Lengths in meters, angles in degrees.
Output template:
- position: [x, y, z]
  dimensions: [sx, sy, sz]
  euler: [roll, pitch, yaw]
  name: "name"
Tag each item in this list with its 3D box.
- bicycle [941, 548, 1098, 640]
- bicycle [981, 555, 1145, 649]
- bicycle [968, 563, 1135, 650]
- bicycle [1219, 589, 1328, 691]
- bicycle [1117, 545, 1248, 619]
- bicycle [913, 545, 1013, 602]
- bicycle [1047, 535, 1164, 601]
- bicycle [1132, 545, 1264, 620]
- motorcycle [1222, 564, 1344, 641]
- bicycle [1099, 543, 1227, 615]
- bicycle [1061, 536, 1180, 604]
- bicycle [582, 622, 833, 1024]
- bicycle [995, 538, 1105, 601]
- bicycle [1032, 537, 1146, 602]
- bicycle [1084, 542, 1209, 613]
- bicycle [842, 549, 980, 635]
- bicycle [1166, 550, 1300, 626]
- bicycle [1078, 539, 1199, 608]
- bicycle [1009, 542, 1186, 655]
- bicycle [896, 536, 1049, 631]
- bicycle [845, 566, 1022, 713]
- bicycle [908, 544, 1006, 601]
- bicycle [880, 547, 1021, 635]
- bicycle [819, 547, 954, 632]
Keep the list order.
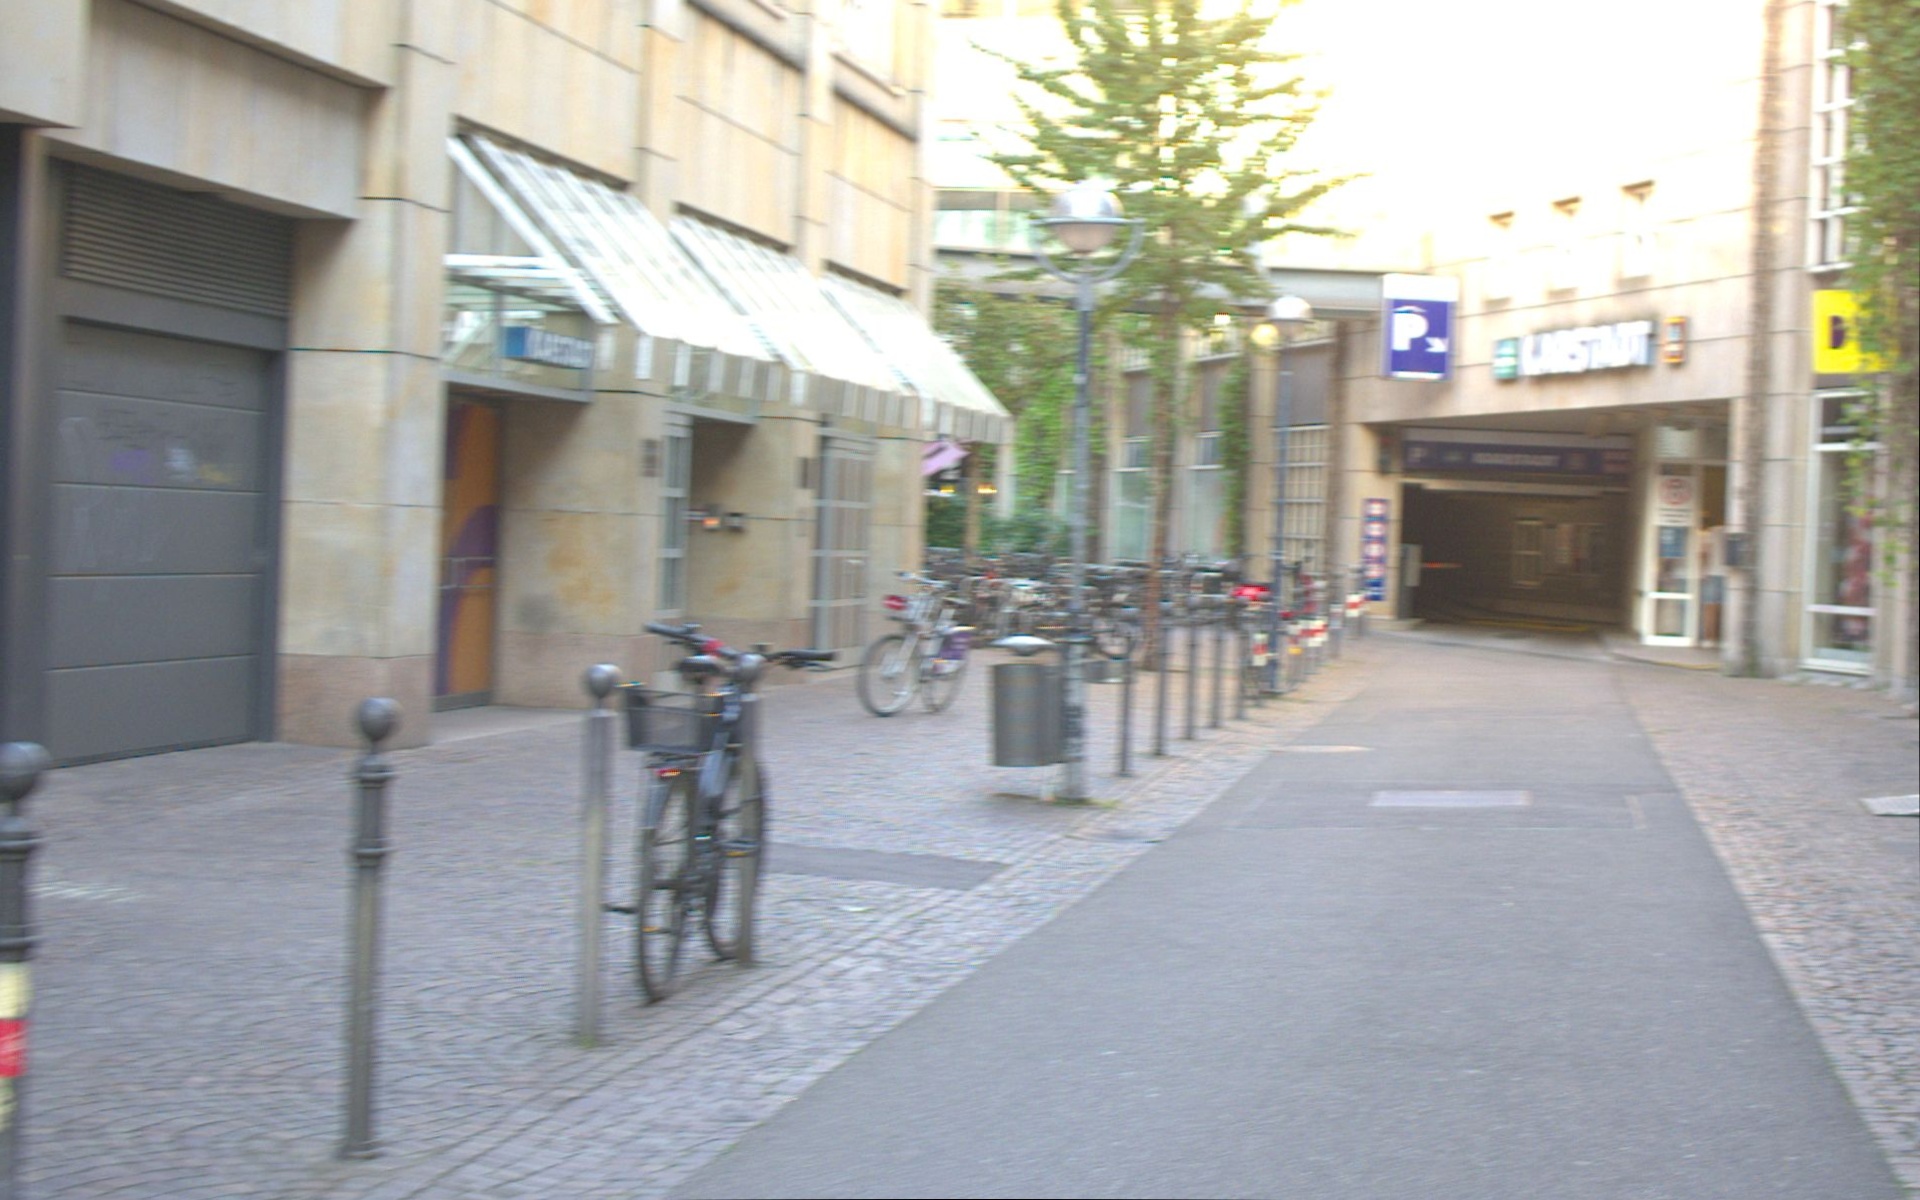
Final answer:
- position: [0.762, -0.079, 44.396]
  dimensions: [1.912, 1.098, 0.696]
  euler: [2, 1, -7]
  name: "bicycle"
- position: [1.283, 0.019, 43.099]
  dimensions: [1.912, 1.098, 0.696]
  euler: [2, 1, -10]
  name: "bicycle"
- position: [1.124, 0.076, 42.194]
  dimensions: [1.912, 0.991, 0.696]
  euler: [2, 1, -10]
  name: "bicycle"
- position: [3.114, 0.382, 34.033]
  dimensions: [0.505, 0.963, 1.692]
  euler: [2, 1, 25]
  name: "bicycle"
- position: [3.629, -0.297, 56.159]
  dimensions: [1.993, 1.178, 0.803]
  euler: [0, 1, -9]
  name: "bicycle"
- position: [0.066, -0.550, 71.817]
  dimensions: [1.993, 1.178, 0.694]
  euler: [0, 1, -9]
  name: "bicycle"
- position: [2.622, -0.583, 62.118]
  dimensions: [1.993, 1.178, 0.694]
  euler: [0, 1, -9]
  name: "bicycle"
- position: [3.815, -0.280, 55.231]
  dimensions: [1.993, 1.178, 0.696]
  euler: [0, 1, -9]
  name: "bicycle"
- position: [4.926, 0.037, 52.452]
  dimensions: [1.745, 1.151, 0.594]
  euler: [0, 1, -7]
  name: "motorcycle"
- position: [3.375, -0.352, 57.355]
  dimensions: [1.993, 1.178, 0.803]
  euler: [0, 1, -9]
  name: "bicycle"
- position: [2.830, -0.534, 60.826]
  dimensions: [1.993, 1.178, 0.694]
  euler: [0, 1, -9]
  name: "bicycle"
- position: [-0.787, 0.669, 11.179]
  dimensions: [0.410, 1.128, 1.930]
  euler: [3, 1, 7]
  name: "bicycle"
- position: [1.722, -0.586, 65.767]
  dimensions: [1.993, 1.178, 0.694]
  euler: [0, 1, -9]
  name: "bicycle"
- position: [2.364, -0.562, 63.256]
  dimensions: [1.993, 1.178, 0.694]
  euler: [0, 1, -9]
  name: "bicycle"
- position: [3.189, -0.388, 58.865]
  dimensions: [1.993, 1.178, 0.803]
  euler: [0, 1, -9]
  name: "bicycle"
- position: [-0.722, -0.120, 50.076]
  dimensions: [1.912, 1.178, 0.696]
  euler: [2, 1, -7]
  name: "bicycle"
- position: [4.306, -0.189, 54.256]
  dimensions: [1.993, 1.178, 0.696]
  euler: [0, 1, -9]
  name: "bicycle"
- position: [3.100, -0.466, 59.882]
  dimensions: [1.993, 1.178, 0.694]
  euler: [0, 1, -9]
  name: "bicycle"
- position: [1.620, -0.025, 40.669]
  dimensions: [1.912, 1.256, 0.809]
  euler: [2, 1, -10]
  name: "bicycle"
- position: [0.160, -0.223, 45.416]
  dimensions: [1.912, 1.178, 0.696]
  euler: [2, 1, -7]
  name: "bicycle"
- position: [-0.193, 0.300, 27.544]
  dimensions: [0.694, 1.108, 1.774]
  euler: [2, 1, 25]
  name: "bicycle"
- position: [-0.068, -0.586, 72.663]
  dimensions: [1.993, 1.178, 0.694]
  euler: [0, 1, -9]
  name: "bicycle"
- position: [-0.142, -0.138, 49.221]
  dimensions: [1.912, 1.178, 0.696]
  euler: [2, 1, -7]
  name: "bicycle"
- position: [-1.104, -0.163, 51.201]
  dimensions: [1.912, 1.178, 0.696]
  euler: [2, 1, -7]
  name: "bicycle"
